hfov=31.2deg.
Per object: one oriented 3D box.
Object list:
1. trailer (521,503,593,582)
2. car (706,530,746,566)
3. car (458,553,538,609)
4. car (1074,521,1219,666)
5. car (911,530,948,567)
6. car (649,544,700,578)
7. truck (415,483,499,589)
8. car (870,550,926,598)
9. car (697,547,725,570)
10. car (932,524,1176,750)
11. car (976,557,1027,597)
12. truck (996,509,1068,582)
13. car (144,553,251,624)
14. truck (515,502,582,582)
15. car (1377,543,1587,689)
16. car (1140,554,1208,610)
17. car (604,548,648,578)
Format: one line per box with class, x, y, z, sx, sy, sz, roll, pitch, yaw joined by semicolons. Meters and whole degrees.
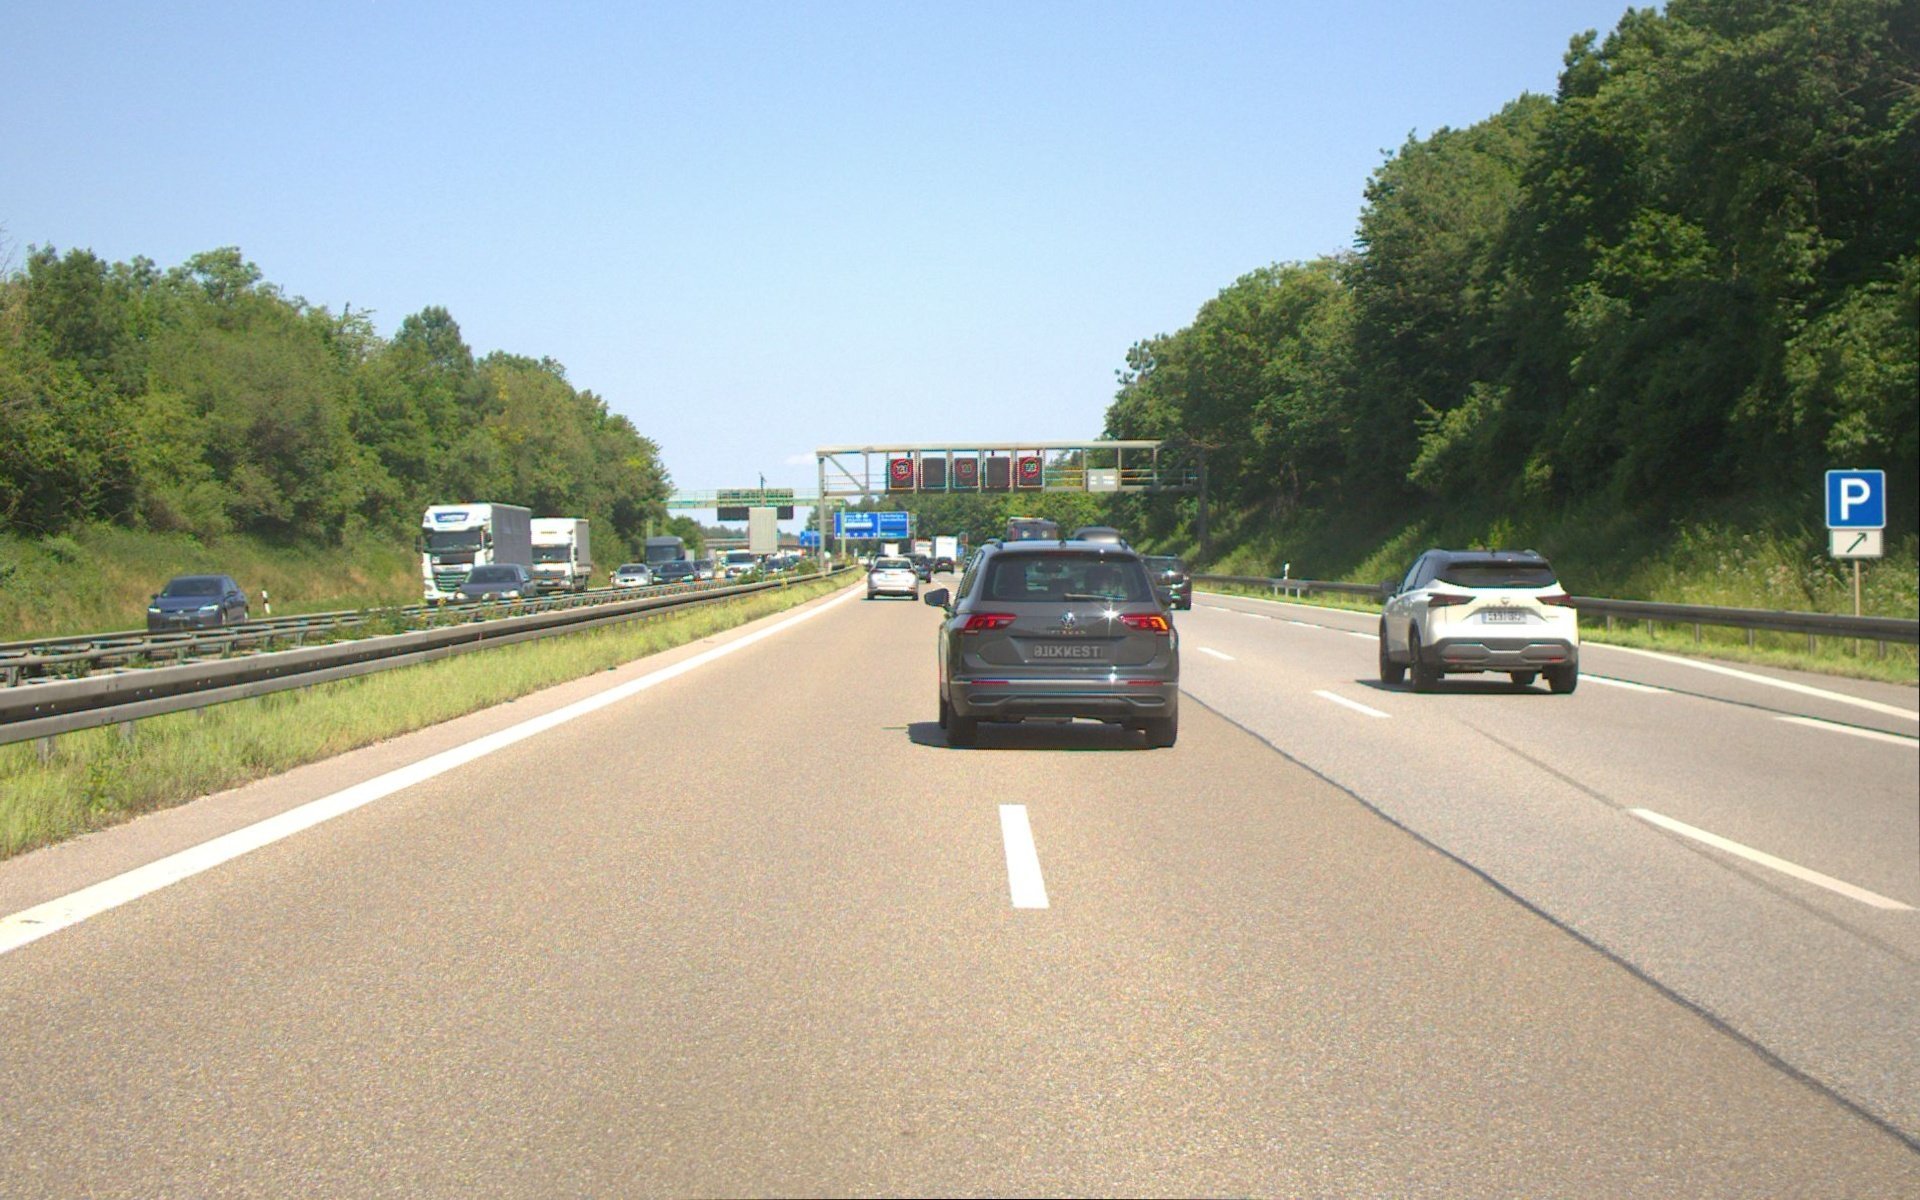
trailer;-20.316;-2.911;173.702;2.712;3.796;7.693;-2;1;-1
car;-13.595;-3.031;200.257;1.928;1.974;5.235;-3;1;-1
car;-11.841;-0.512;88.368;1.485;1.351;4.418;-1;1;-1
car;2.512;-0.131;47.353;1.665;1.870;4.827;-1;1;0
car;-1.701;-2.895;193.135;1.993;2.007;4.000;1;1;-1
car;-12.186;-1.673;146.986;1.807;1.401;4.819;-1;1;-1
truck;-19.934;-2.529;136.429;2.614;4.044;4.000;-3;1;-1
car;-2.099;-0.914;117.244;1.765;1.563;4.258;1;1;1
car;-16.780;-2.812;231.747;1.675;1.490;3.545;-1;1;-1
car;0.741;0.240;28.021;1.799;1.663;4.258;1;1;1
car;1.484;-0.834;123.033;1.765;1.377;4.258;1;1;1
truck;4.432;-3.415;215.719;3.780;4.407;14.052;0;1;-2
car;-18.161;-0.300;82.051;1.595;1.562;4.369;-3;1;-1
truck;-20.247;-2.849;169.432;2.703;3.796;4.000;-2;1;-1
car;5.970;0.142;39.737;1.843;1.563;4.036;1;1;1
car;6.251;-0.538;100.670;1.765;1.563;4.258;1;1;1
car;-16.150;-1.797;166.386;1.713;1.413;4.504;-1;1;-1
